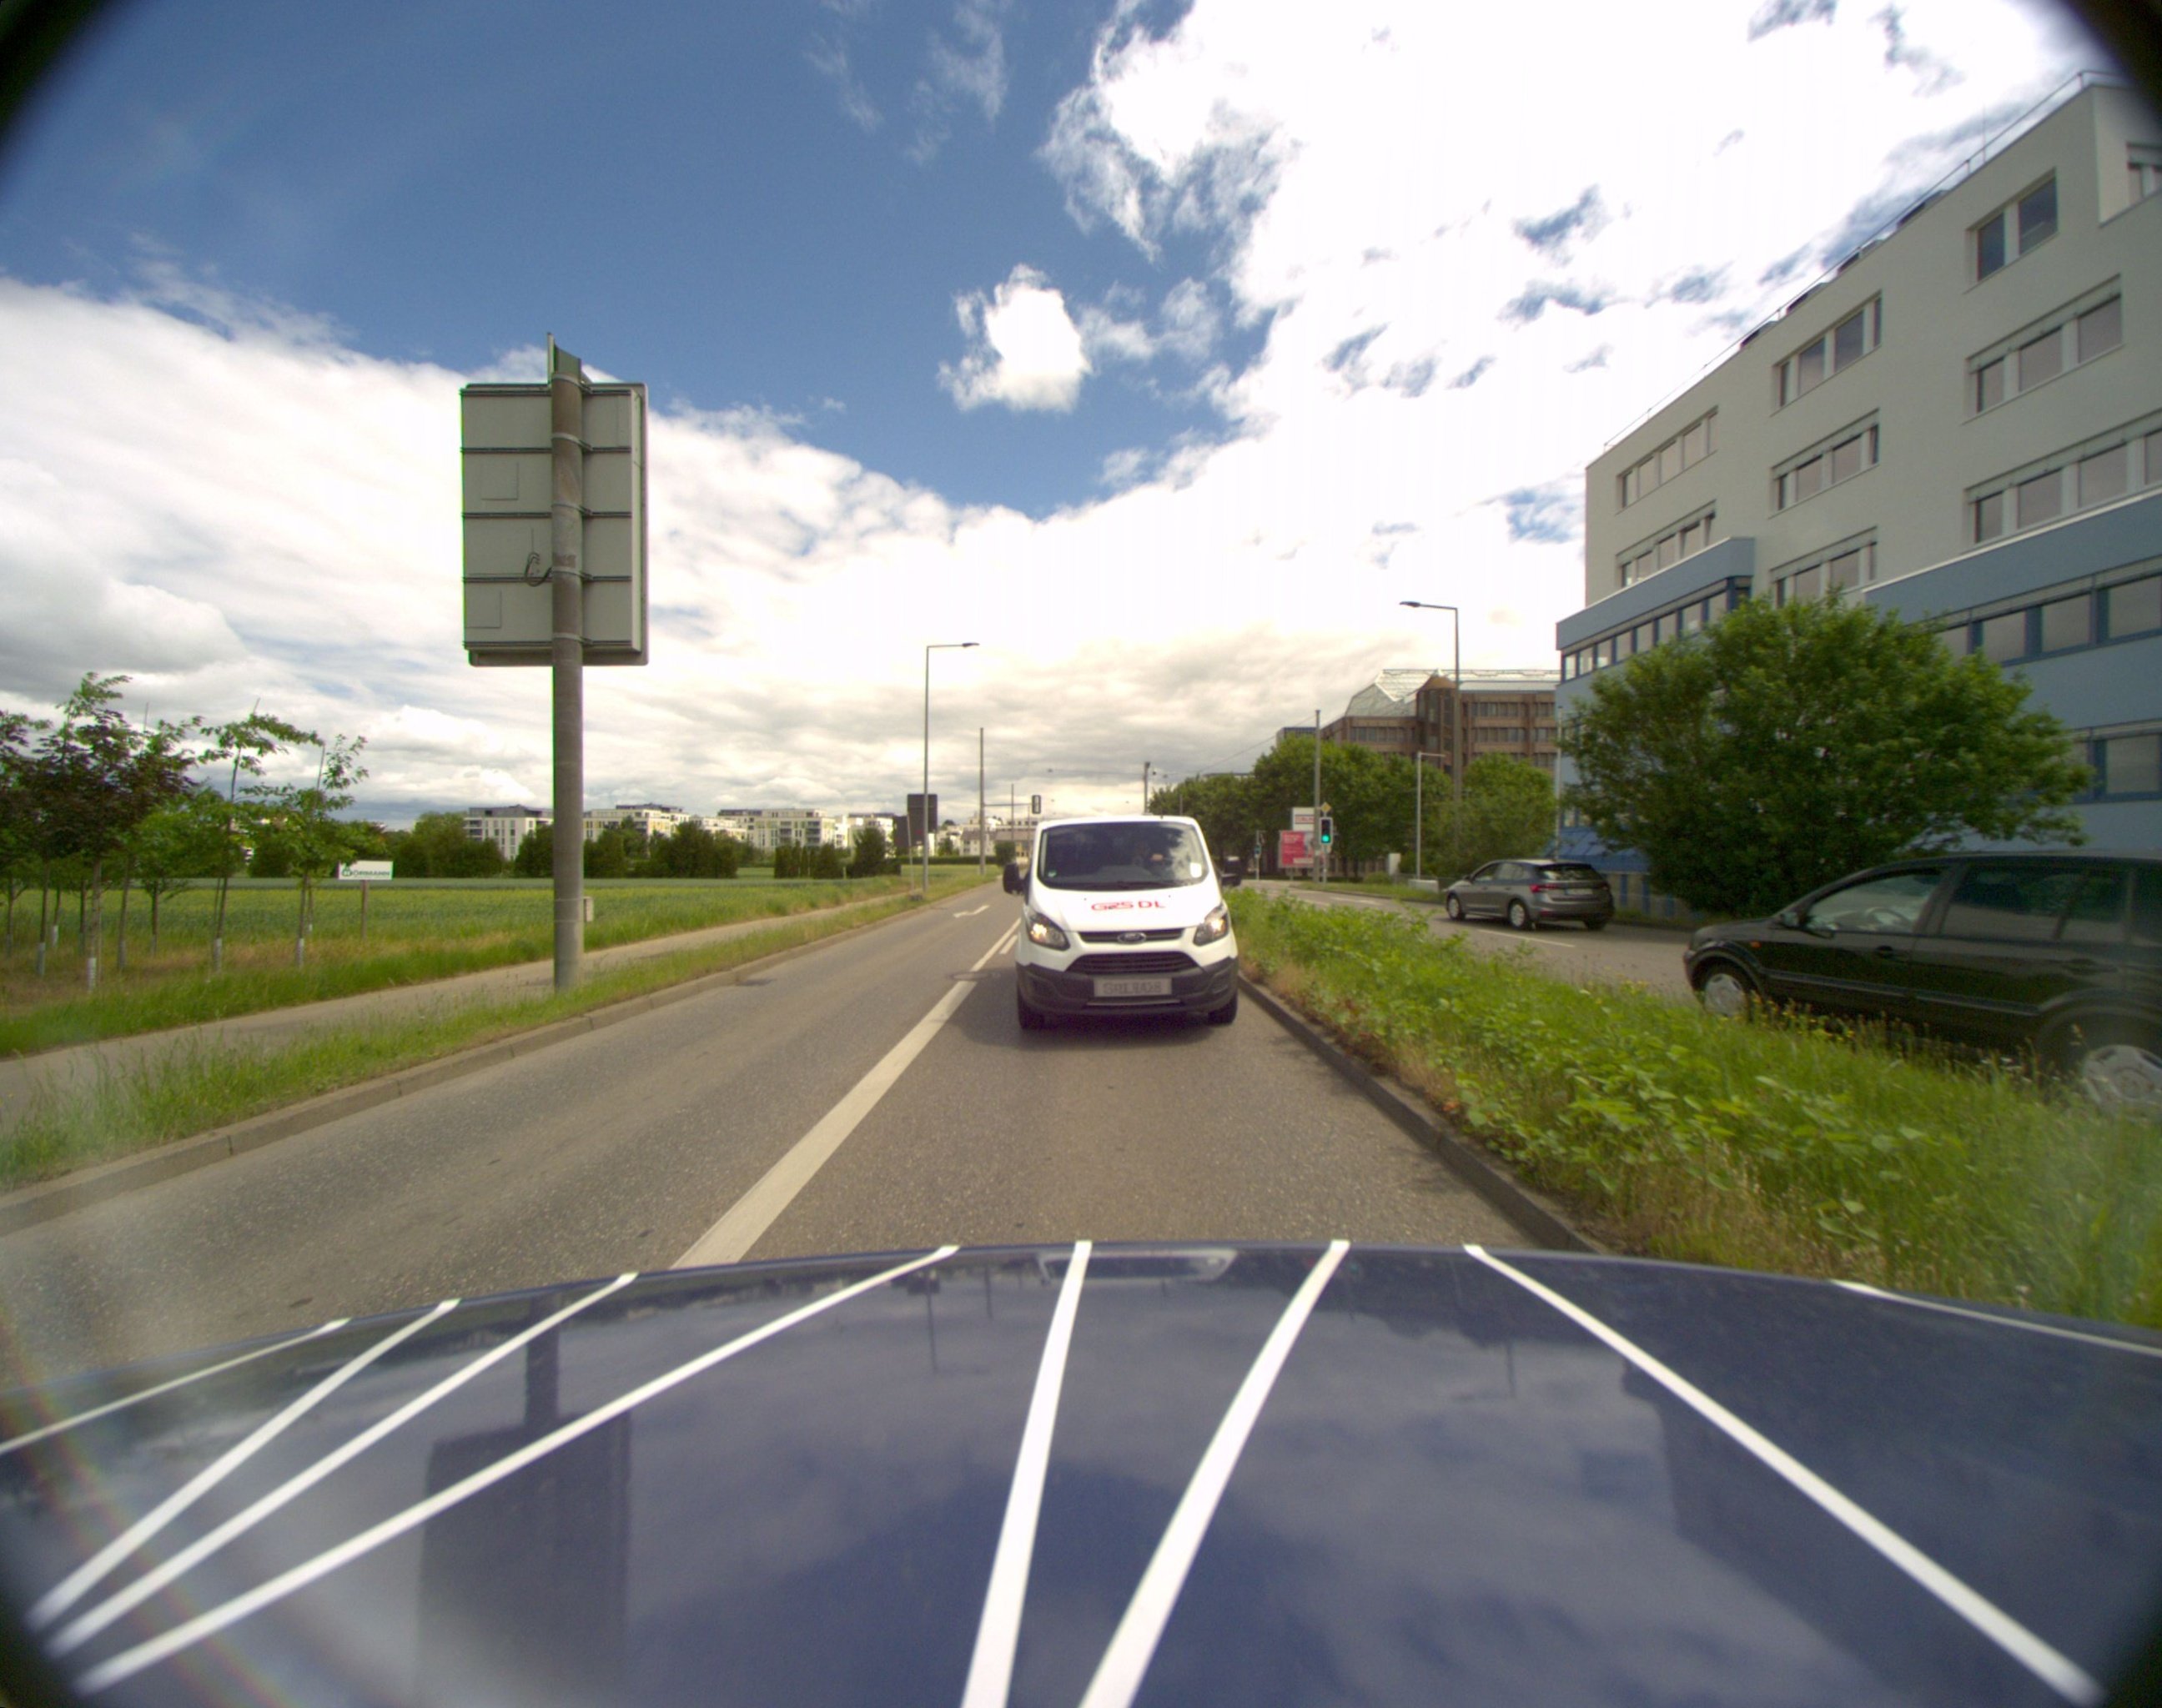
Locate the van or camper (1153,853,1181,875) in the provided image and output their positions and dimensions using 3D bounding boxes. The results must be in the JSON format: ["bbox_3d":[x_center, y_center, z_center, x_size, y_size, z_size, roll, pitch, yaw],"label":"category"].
[{"bbox_3d":[8.279,0.933,73.462,1.999,2.002,4.814,0,0,-3],"label":"van or camper"}]

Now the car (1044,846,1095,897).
[{"bbox_3d":[-0.420,0.686,32.130,1.998,2.002,4.000,0,0,1],"label":"car"}]

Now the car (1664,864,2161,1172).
[{"bbox_3d":[6.253,0.843,5.070,1.683,1.473,4.000,-1,0,1],"label":"car"}]

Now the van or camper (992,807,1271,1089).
[{"bbox_3d":[0.261,0.677,8.335,1.999,2.002,5.798,0,0,-2],"label":"van or camper"}]

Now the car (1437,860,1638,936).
[{"bbox_3d":[9.583,0.856,16.382,1.937,1.390,4.000,-1,0,0],"label":"car"}]
